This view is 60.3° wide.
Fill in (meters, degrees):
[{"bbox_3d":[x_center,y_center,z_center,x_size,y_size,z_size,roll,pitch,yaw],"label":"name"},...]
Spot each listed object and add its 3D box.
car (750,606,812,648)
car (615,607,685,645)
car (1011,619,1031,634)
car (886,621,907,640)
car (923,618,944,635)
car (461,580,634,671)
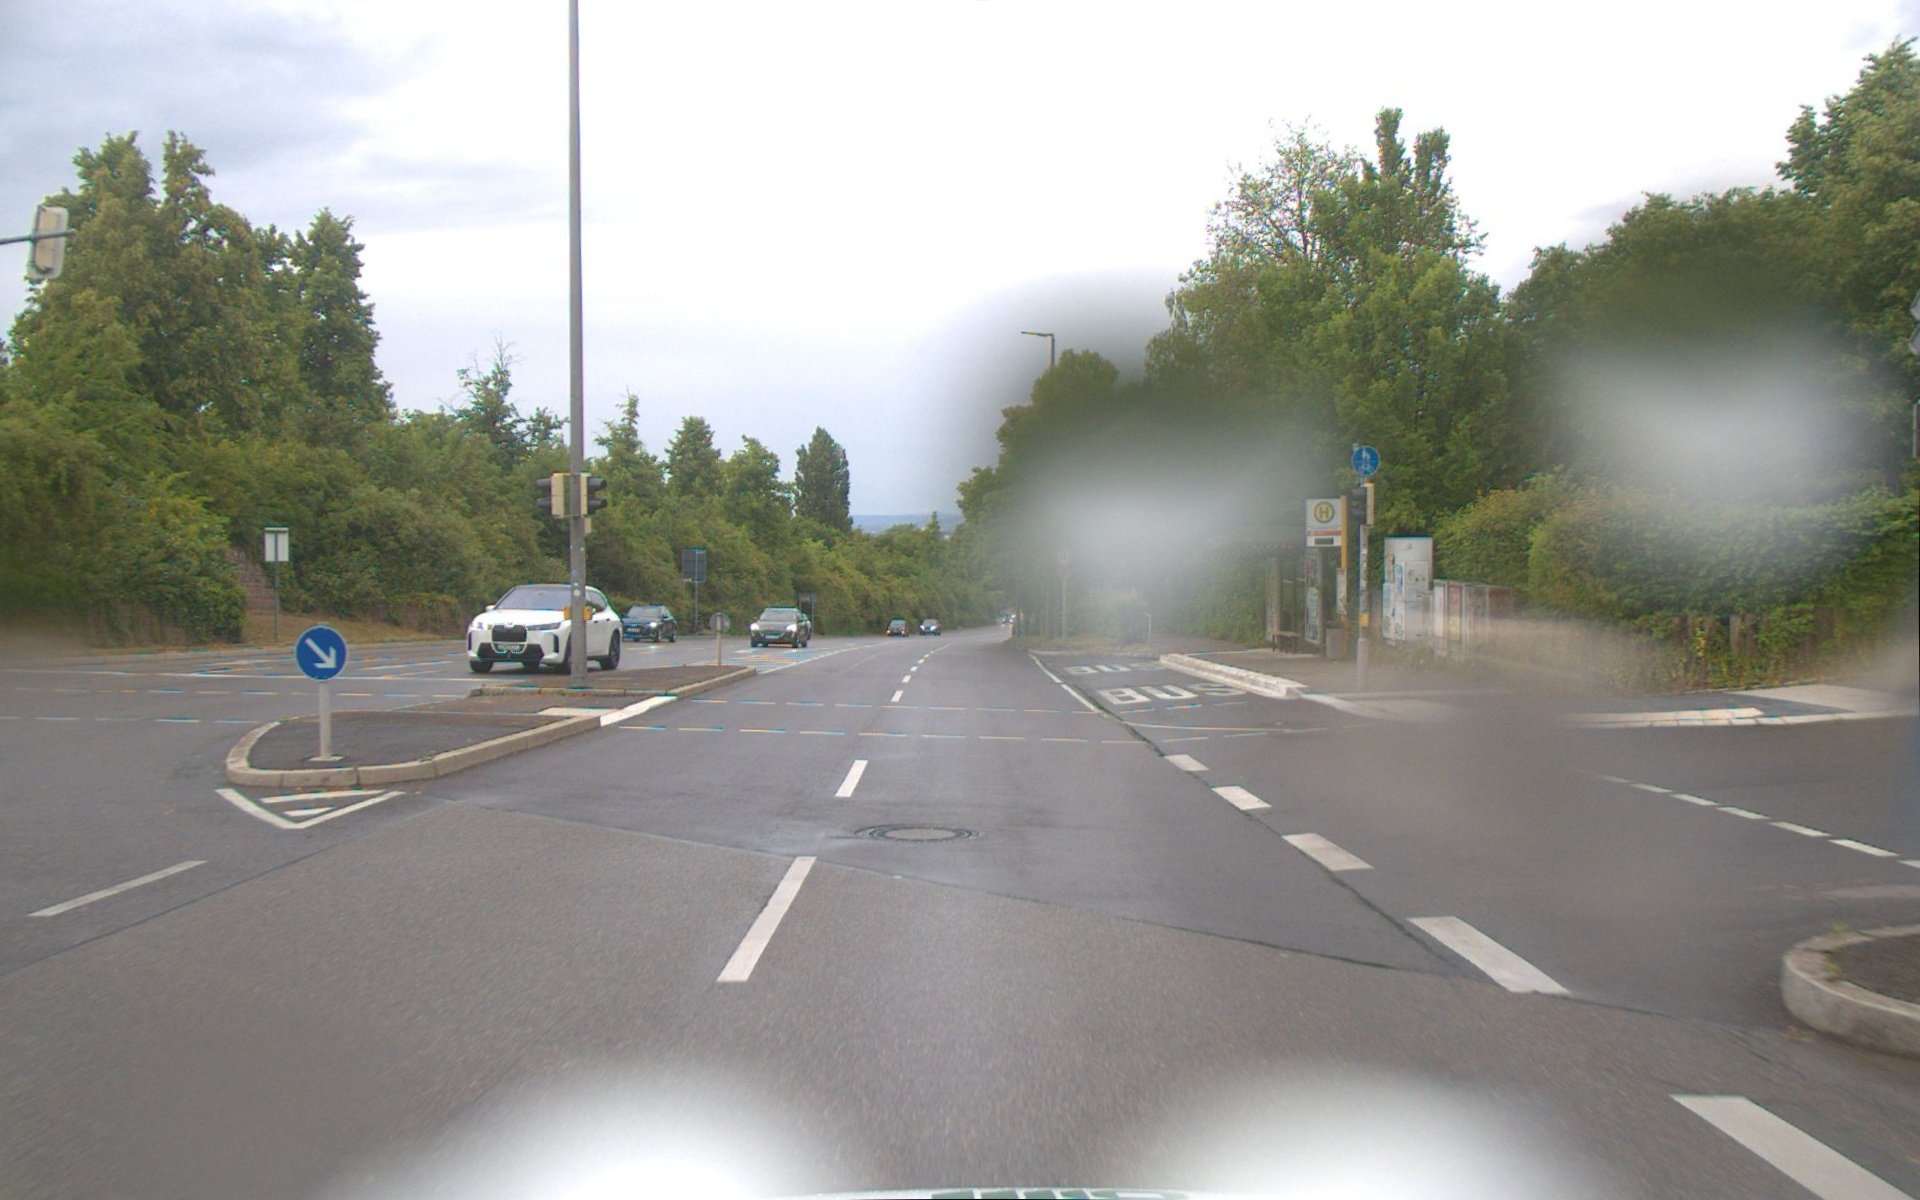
[{"bbox_3d":[-6.775,1.011,63.096,1.741,1.497,4.645,1,0,1],"label":"car"},{"bbox_3d":[-12.384,1.023,66.385,1.781,1.463,4.456,0,0,3],"label":"car"},{"bbox_3d":[6.722,2.903,181.450,1.903,1.619,3.930,0,1,6],"label":"car"},{"bbox_3d":[-5.761,2.800,150.913,1.689,1.593,3.893,3,-1,1],"label":"car"},{"bbox_3d":[-2.787,2.775,173.240,1.825,1.617,3.894,3,-1,3],"label":"car"},{"bbox_3d":[-8.093,0.471,32.978,1.904,1.664,5.007,0,0,4],"label":"car"}]
